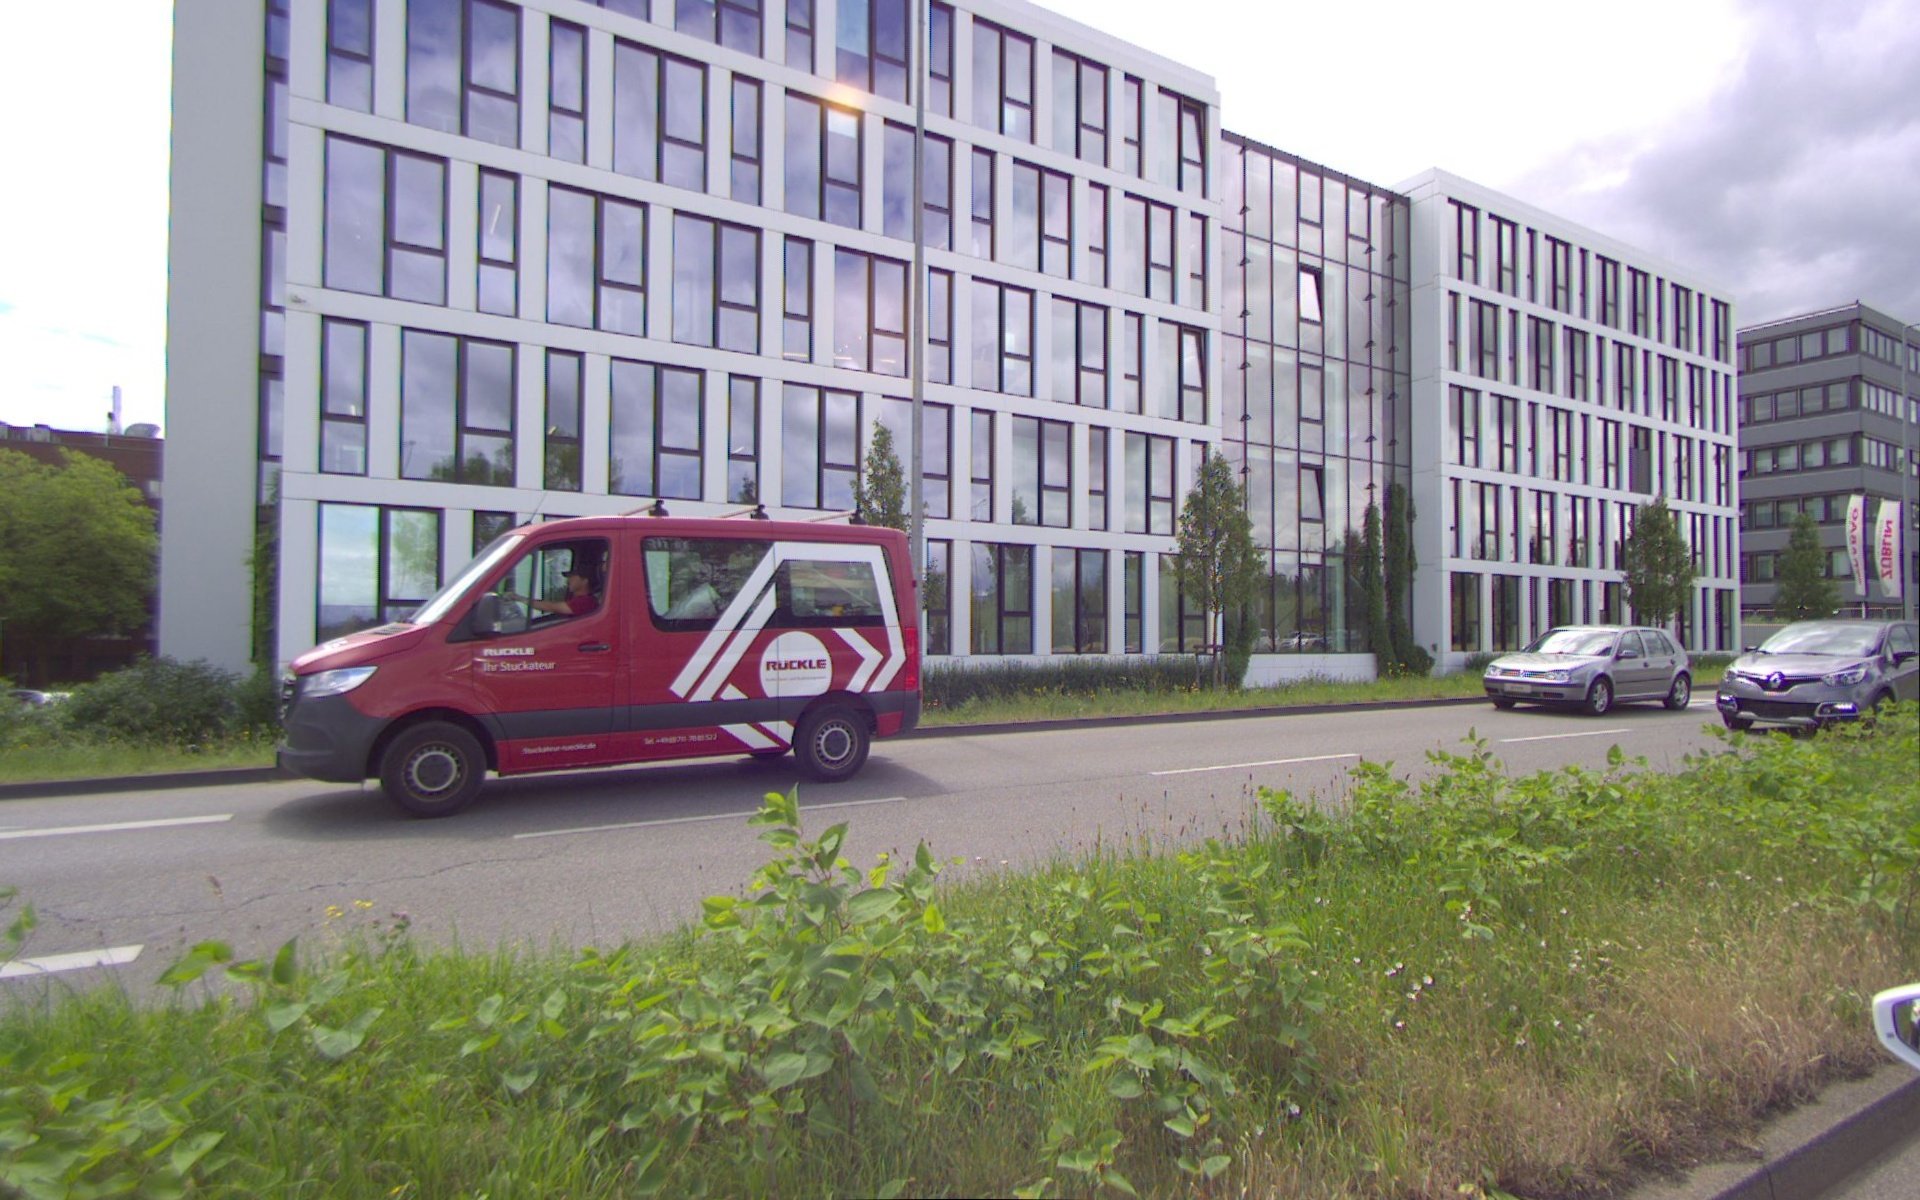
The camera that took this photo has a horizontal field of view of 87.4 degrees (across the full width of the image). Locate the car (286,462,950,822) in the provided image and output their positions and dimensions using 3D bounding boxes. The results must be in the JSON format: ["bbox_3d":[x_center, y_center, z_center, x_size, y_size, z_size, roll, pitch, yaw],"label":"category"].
[{"bbox_3d":[-2.819,0.356,9.010,5.180,2.444,1.984,1,-2,-31],"label":"car"}]

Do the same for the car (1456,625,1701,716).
[{"bbox_3d":[10.635,1.126,17.247,3.953,1.372,1.984,1,-1,-30],"label":"car"}]

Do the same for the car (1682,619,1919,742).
[{"bbox_3d":[12.390,1.040,14.313,3.951,1.537,1.927,1,-1,-29],"label":"car"}]
